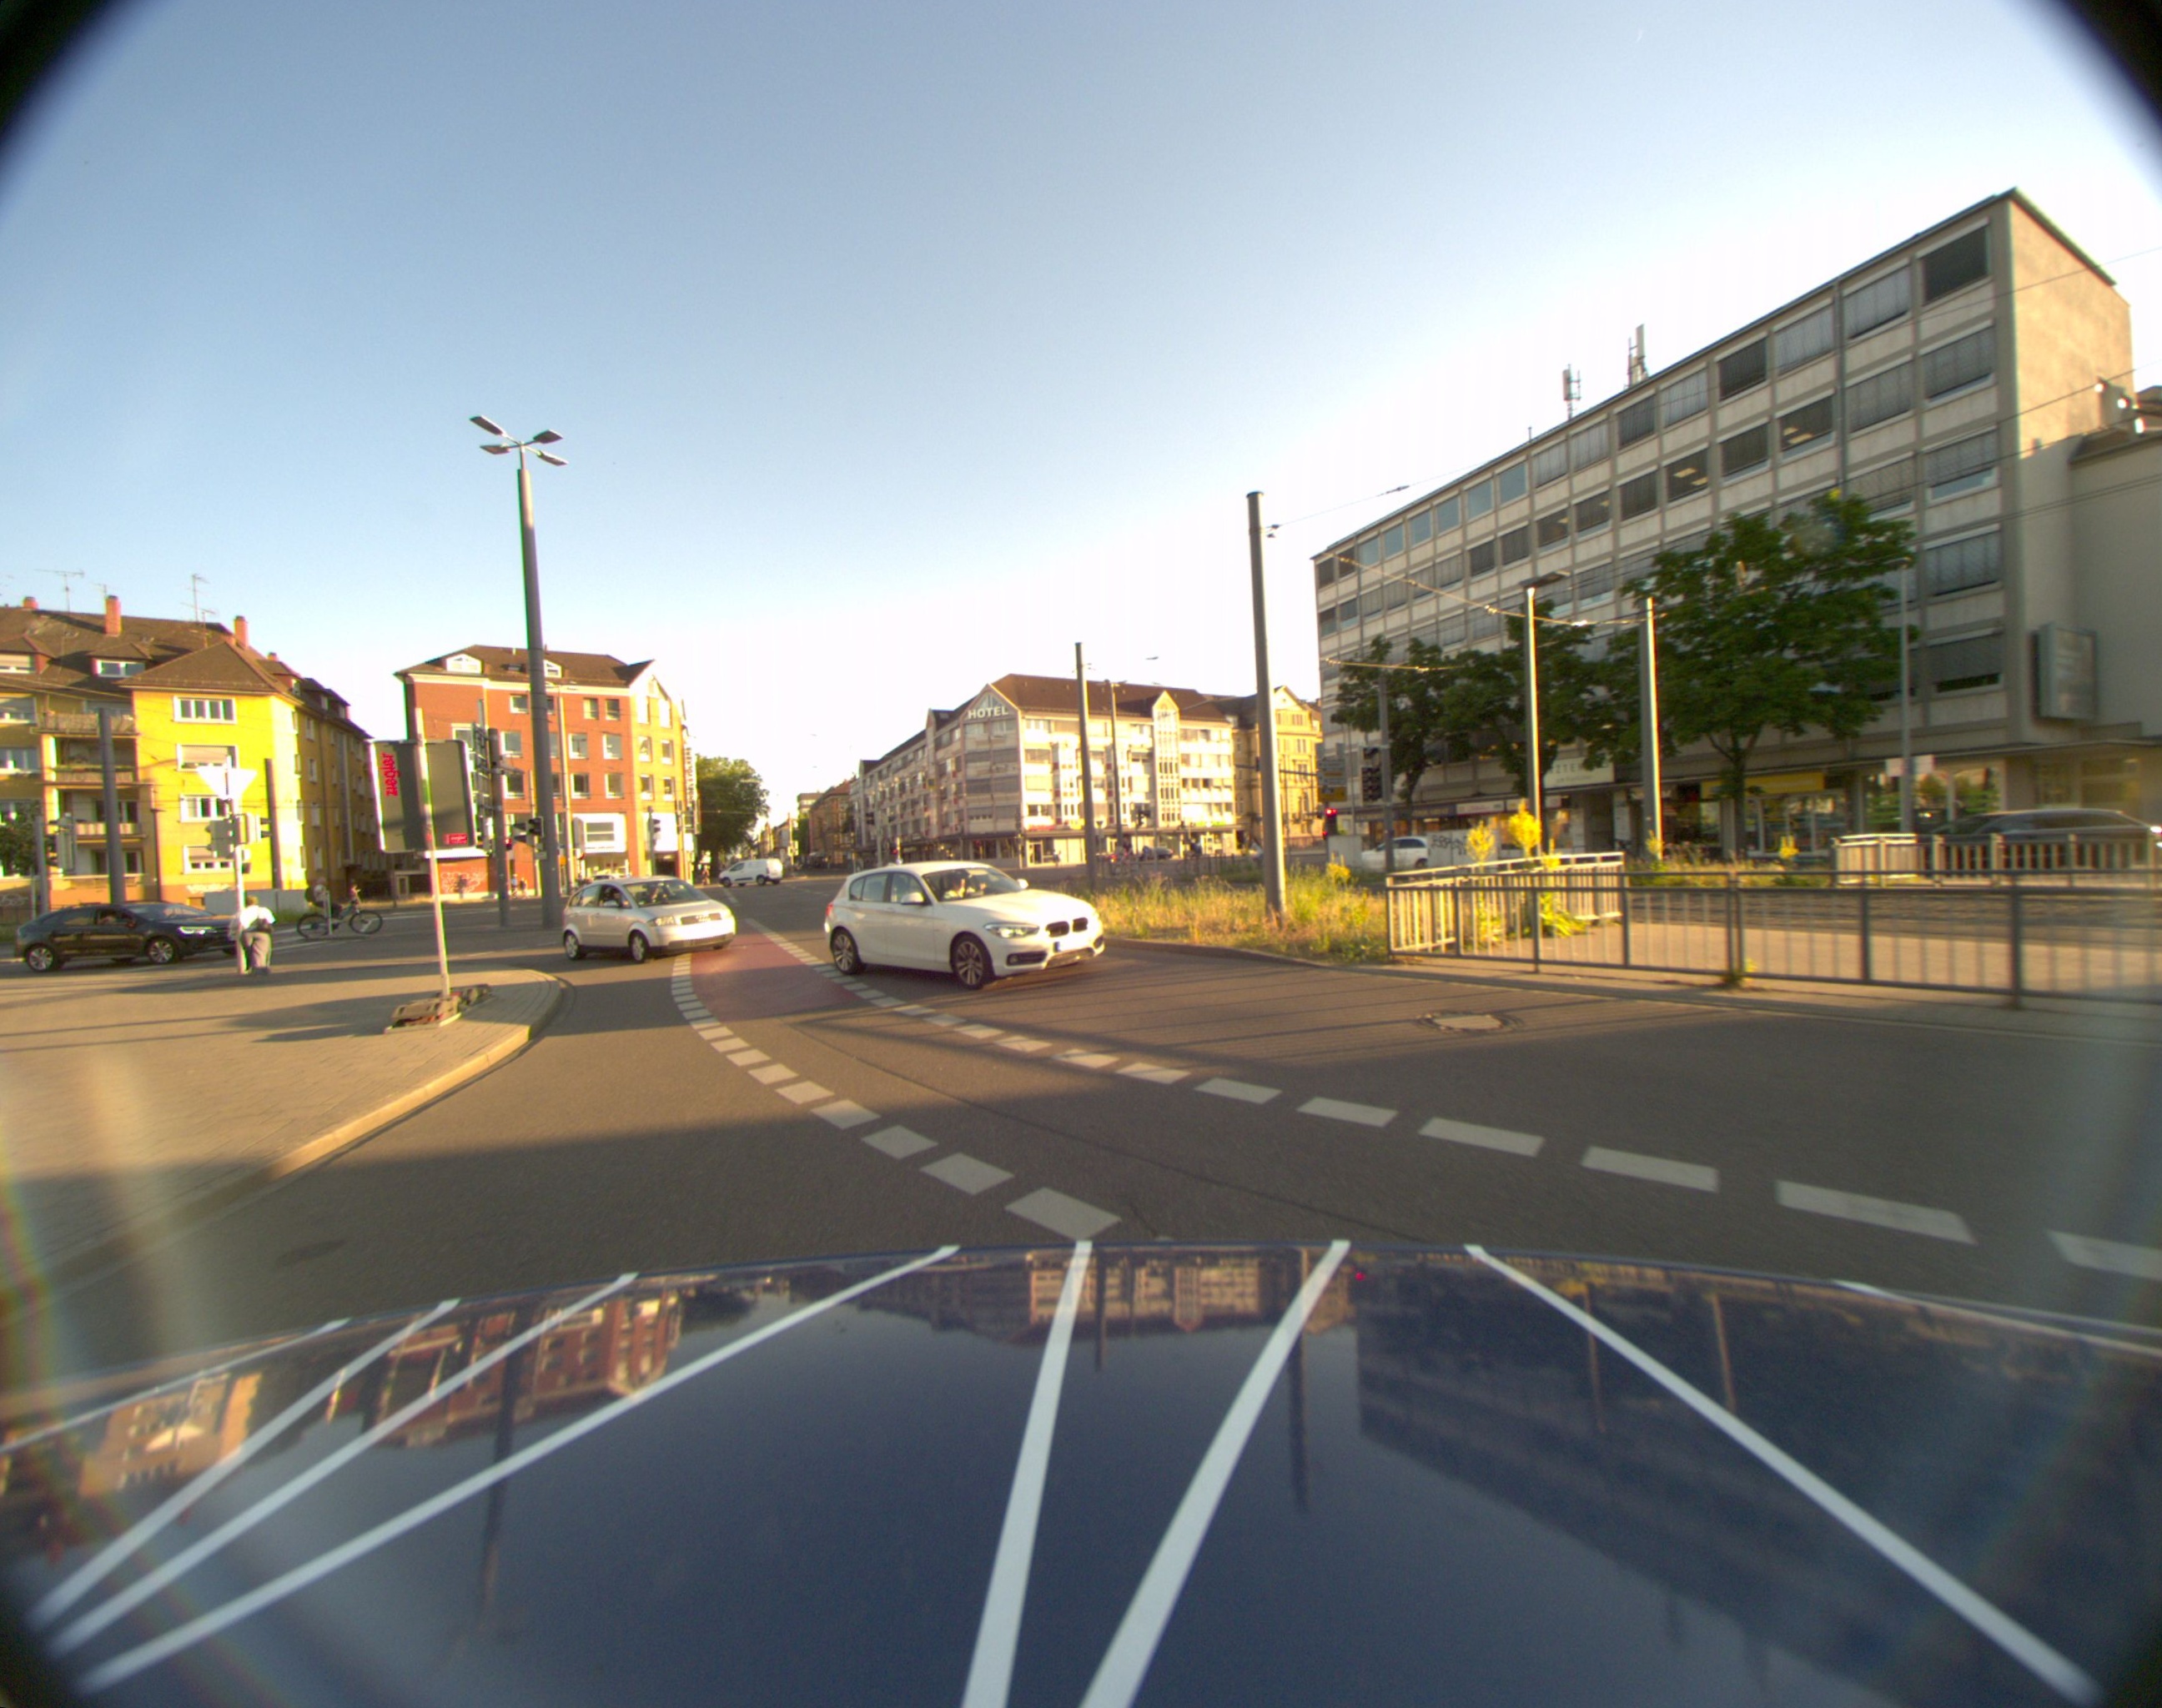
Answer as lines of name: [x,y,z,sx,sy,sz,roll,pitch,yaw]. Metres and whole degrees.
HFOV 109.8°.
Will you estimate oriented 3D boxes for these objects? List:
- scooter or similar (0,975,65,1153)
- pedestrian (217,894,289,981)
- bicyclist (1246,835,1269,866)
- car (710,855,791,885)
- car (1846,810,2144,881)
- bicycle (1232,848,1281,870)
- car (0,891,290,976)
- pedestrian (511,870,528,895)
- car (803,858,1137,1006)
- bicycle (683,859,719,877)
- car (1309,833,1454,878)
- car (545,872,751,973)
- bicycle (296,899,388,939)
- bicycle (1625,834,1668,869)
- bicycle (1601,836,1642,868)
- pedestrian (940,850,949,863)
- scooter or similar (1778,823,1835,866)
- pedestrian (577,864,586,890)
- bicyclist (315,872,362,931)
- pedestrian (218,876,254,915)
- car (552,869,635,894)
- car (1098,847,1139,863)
scooter or similar: [-8.020,1.476,5.378,1.402,1.159,0.462,-2,1,15]
pedestrian: [-16.136,1.605,14.820,0.690,1.604,0.595,-3,1,-21]
bicyclist: [7.822,-0.155,33.654,0.682,1.361,0.717,-1,2,37]
car: [-23.259,1.148,53.577,4.868,1.827,2.002,-3,1,12]
car: [21.513,-0.186,18.097,4.364,1.427,1.738,-2,1,13]
bicycle: [7.789,0.233,33.691,1.949,0.925,0.726,-2,1,37]
car: [-22.359,1.856,18.275,4.390,1.608,1.943,-2,1,-3]
pedestrian: [-41.858,2.094,56.635,0.874,1.768,0.915,-4,2,-37]
car: [-1.594,0.879,9.846,4.293,1.397,1.920,-3,1,42]
bicycle: [-39.879,1.459,79.812,3.312,1.716,1.067,-3,1,-28]
car: [10.906,0.074,27.937,2.043,1.432,4.651,-4,1,-29]
car: [-8.211,1.240,14.350,3.717,1.552,1.683,-3,2,32]
bicycle: [-22.172,1.942,22.831,1.849,1.017,0.595,-3,1,-27]
bicycle: [20.924,-0.091,28.112,1.639,1.178,0.537,-4,2,-26]
bicycle: [20.710,-0.080,29.089,1.748,1.134,0.665,-4,2,-33]
pedestrian: [-16.768,0.297,93.540,0.709,1.540,0.904,-3,2,-30]
scooter or similar: [23.312,-0.293,24.429,1.279,1.314,0.515,-2,1,4]
pedestrian: [-33.204,1.510,50.521,0.420,1.698,0.514,-3,2,-32]
bicyclist: [-22.248,1.413,22.788,0.749,1.662,0.595,-4,3,-27]
pedestrian: [-34.912,1.700,31.393,0.637,1.532,0.706,-3,1,-12]
car: [-34.652,1.938,54.159,4.564,1.441,1.814,-3,1,-12]
car: [3.800,0.096,77.734,3.902,1.414,1.645,-3,1,-32]
